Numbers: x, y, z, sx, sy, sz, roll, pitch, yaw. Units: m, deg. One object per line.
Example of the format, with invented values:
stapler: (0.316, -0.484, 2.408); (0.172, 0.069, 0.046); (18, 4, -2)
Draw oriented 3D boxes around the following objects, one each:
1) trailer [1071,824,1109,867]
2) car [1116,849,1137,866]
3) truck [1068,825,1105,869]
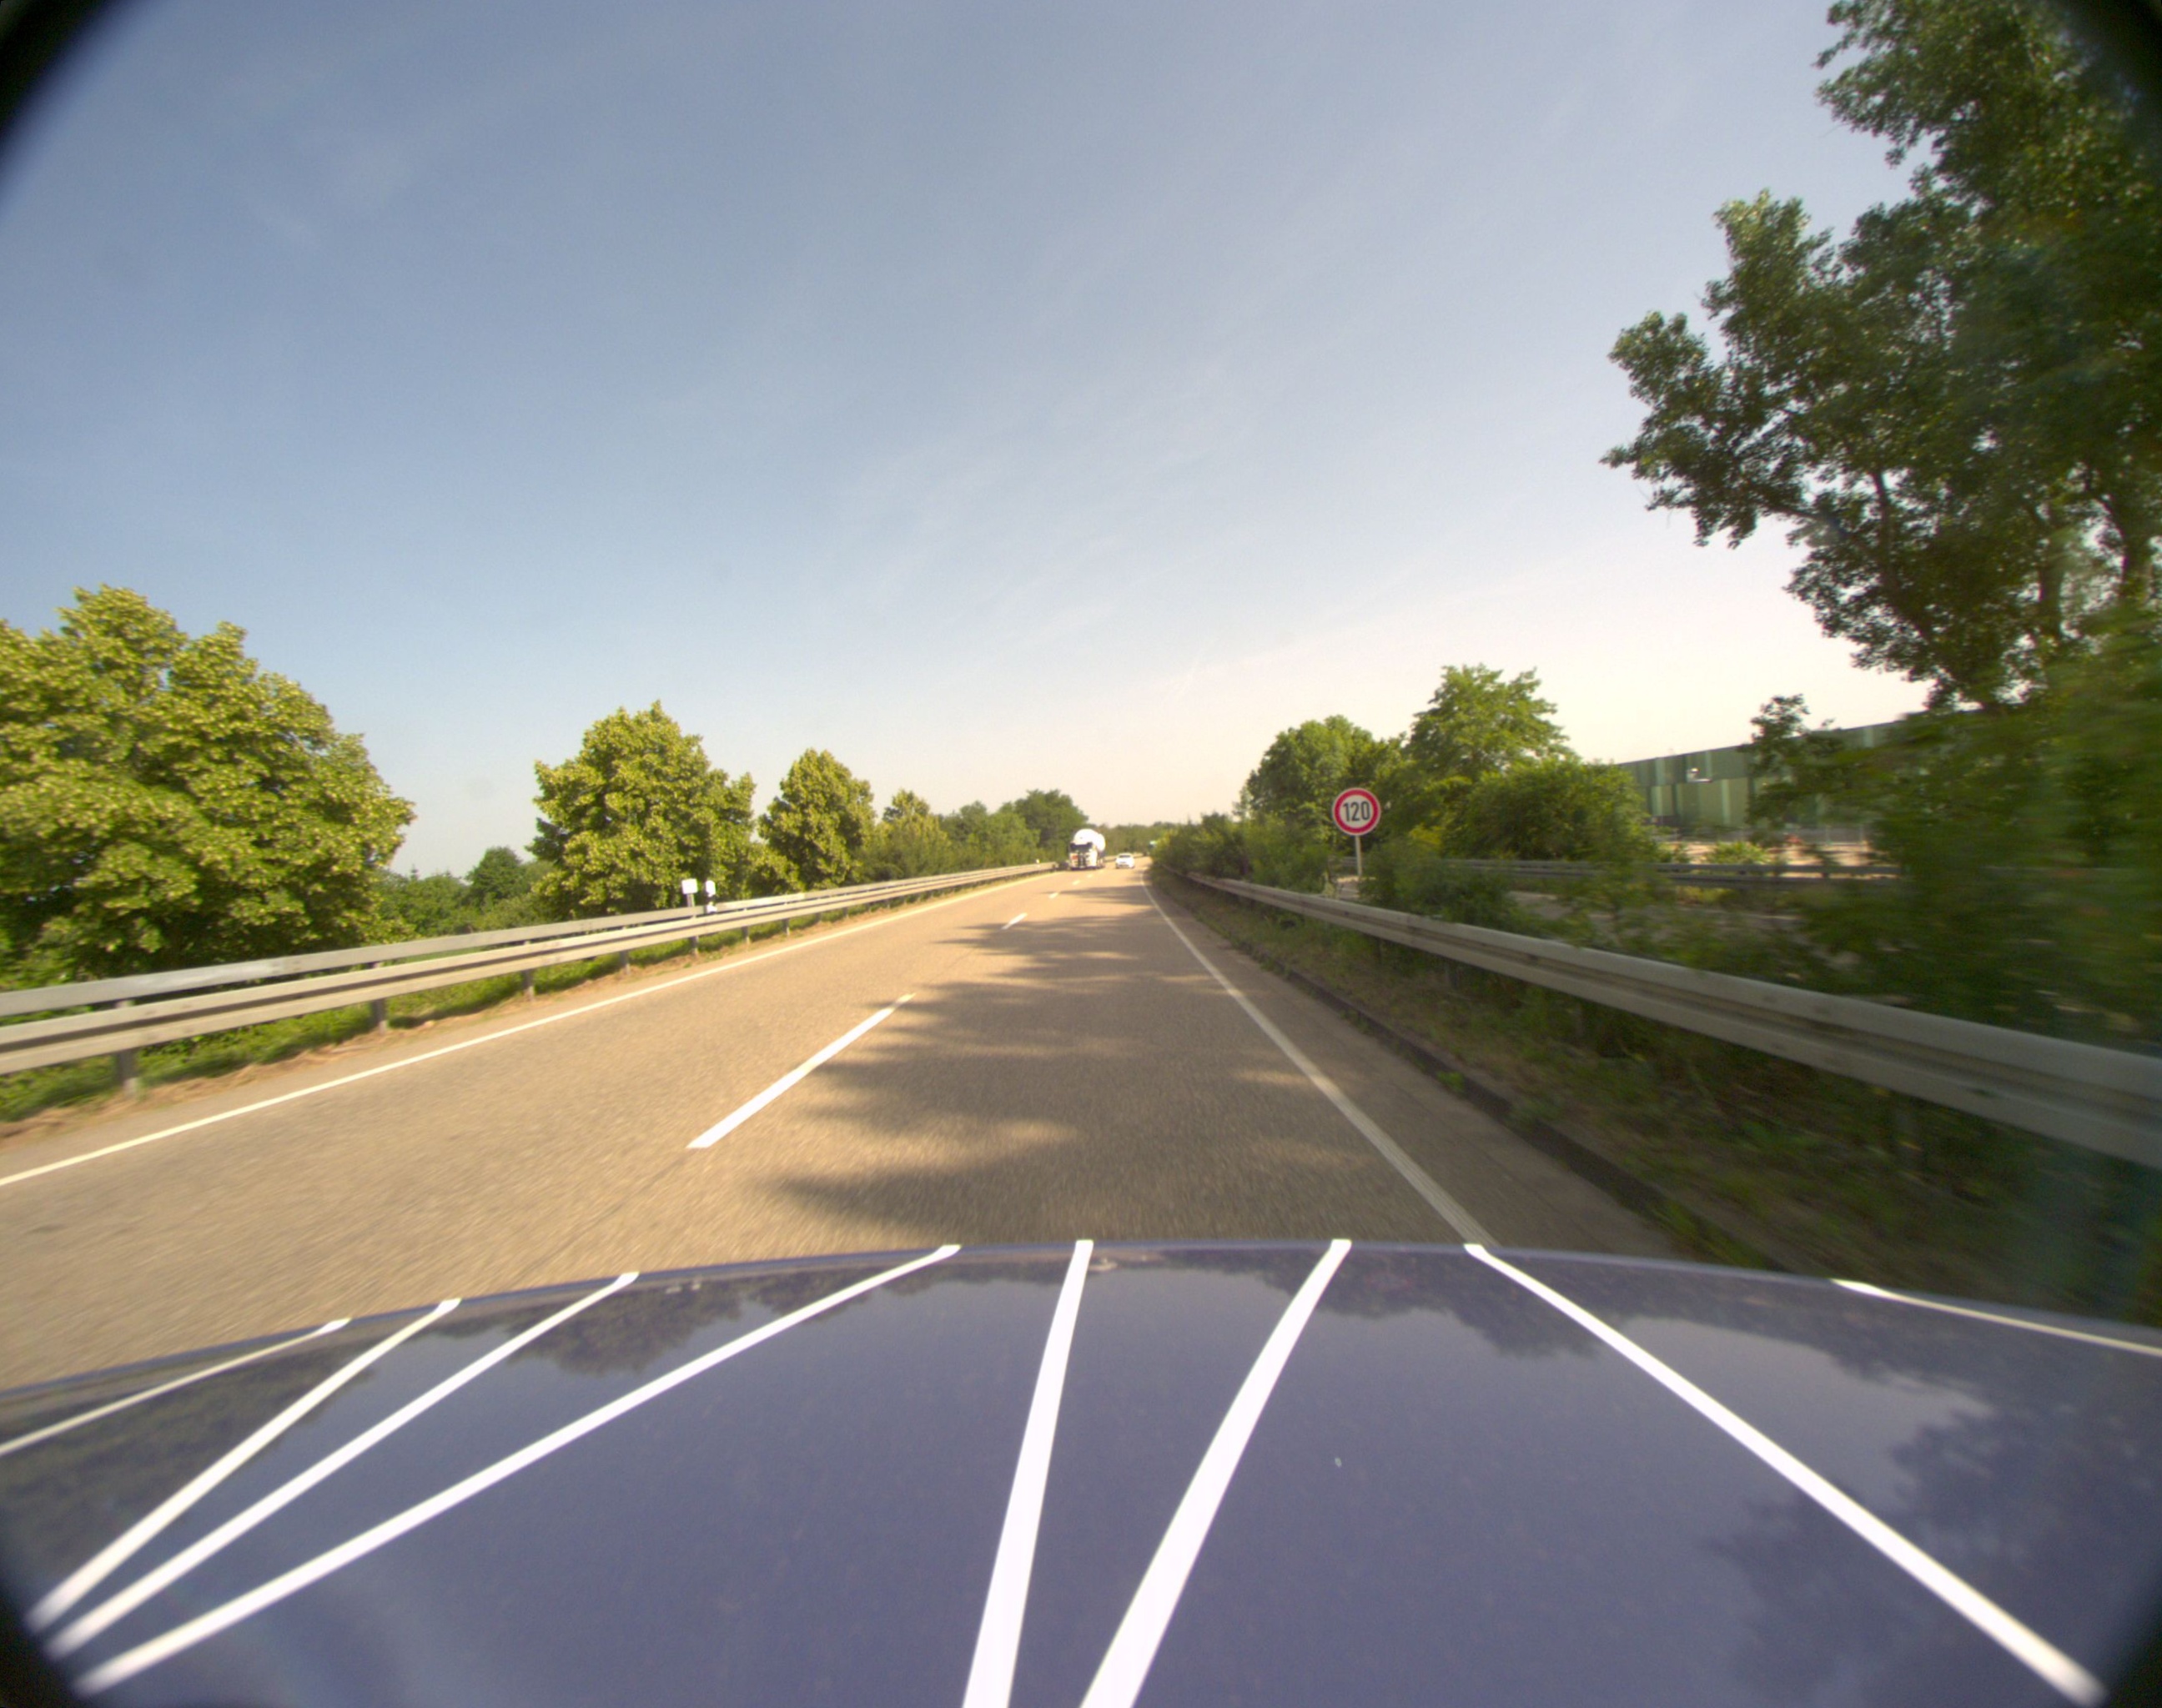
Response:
trailer: (0.971, -0.854, 76.095); (2.762, 3.969, 8.189); (-2, 1, 7)
car: (4.498, 0.330, 74.856); (1.788, 1.428, 4.001); (-3, 1, 7)
truck: (0.587, -0.727, 72.822); (2.777, 3.939, 5.629); (-3, 1, 6)
